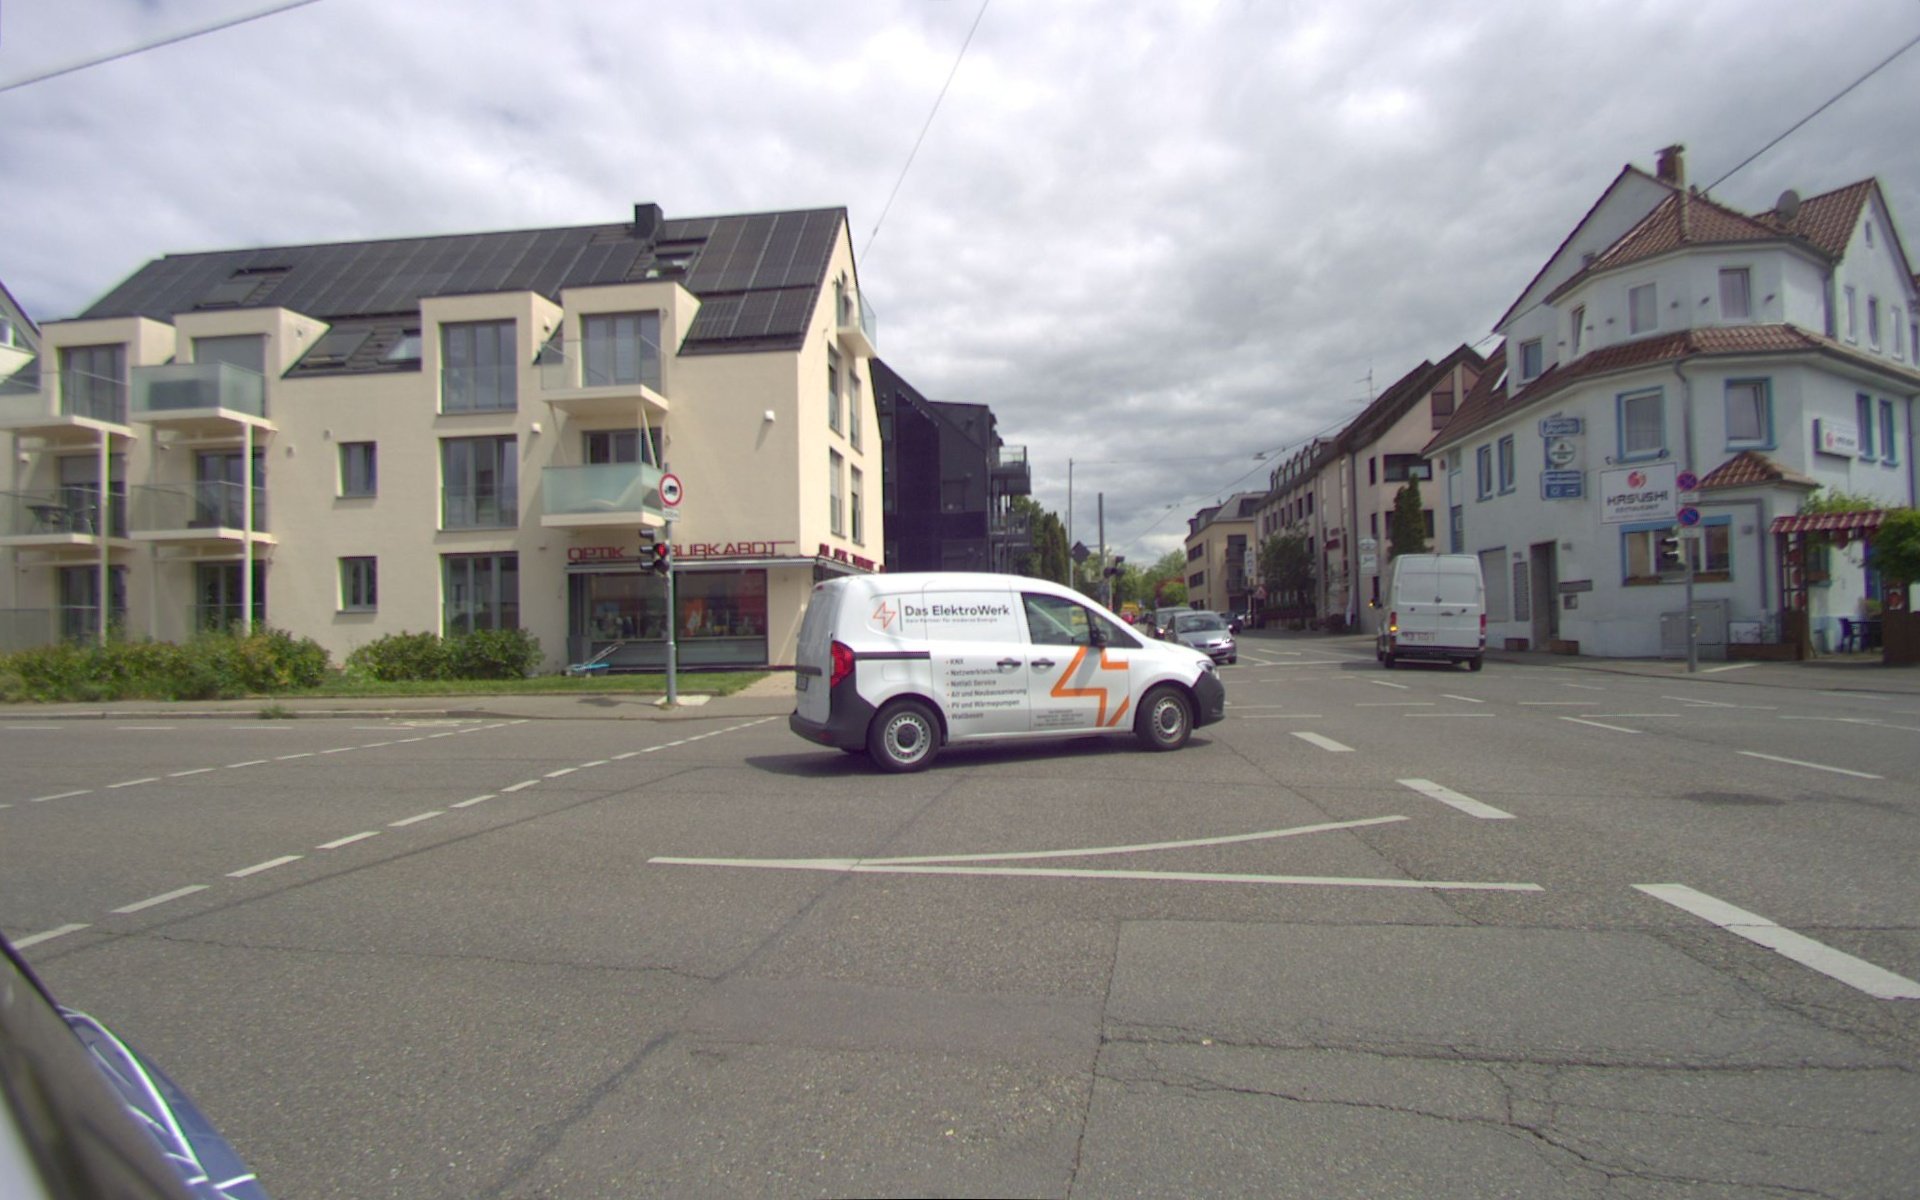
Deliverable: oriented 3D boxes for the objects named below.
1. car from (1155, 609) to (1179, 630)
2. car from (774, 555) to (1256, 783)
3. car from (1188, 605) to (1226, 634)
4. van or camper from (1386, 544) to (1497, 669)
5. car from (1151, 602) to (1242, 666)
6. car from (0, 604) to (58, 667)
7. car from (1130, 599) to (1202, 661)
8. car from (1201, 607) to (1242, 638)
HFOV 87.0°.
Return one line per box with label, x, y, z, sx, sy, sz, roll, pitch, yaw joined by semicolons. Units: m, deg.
car;20.932;1.990;102.531;1.976;2.029;3.991;-1;-1;7
car;0.493;0.572;10.066;4.343;1.825;1.827;-2;-1;-18
car;18.242;1.448;74.862;1.974;2.029;3.996;-1;-1;3
van or camper;11.253;0.215;23.990;2.101;2.606;5.601;1;-2;23
car;6.669;0.926;28.987;1.975;1.696;3.993;-1;-1;5
car;-31.822;1.150;32.439;1.979;2.029;3.985;-1;-1;12
car;7.148;1.012;35.563;1.975;2.029;3.994;-1;-1;5
car;17.954;1.535;69.677;1.974;2.029;3.996;-1;-1;3
